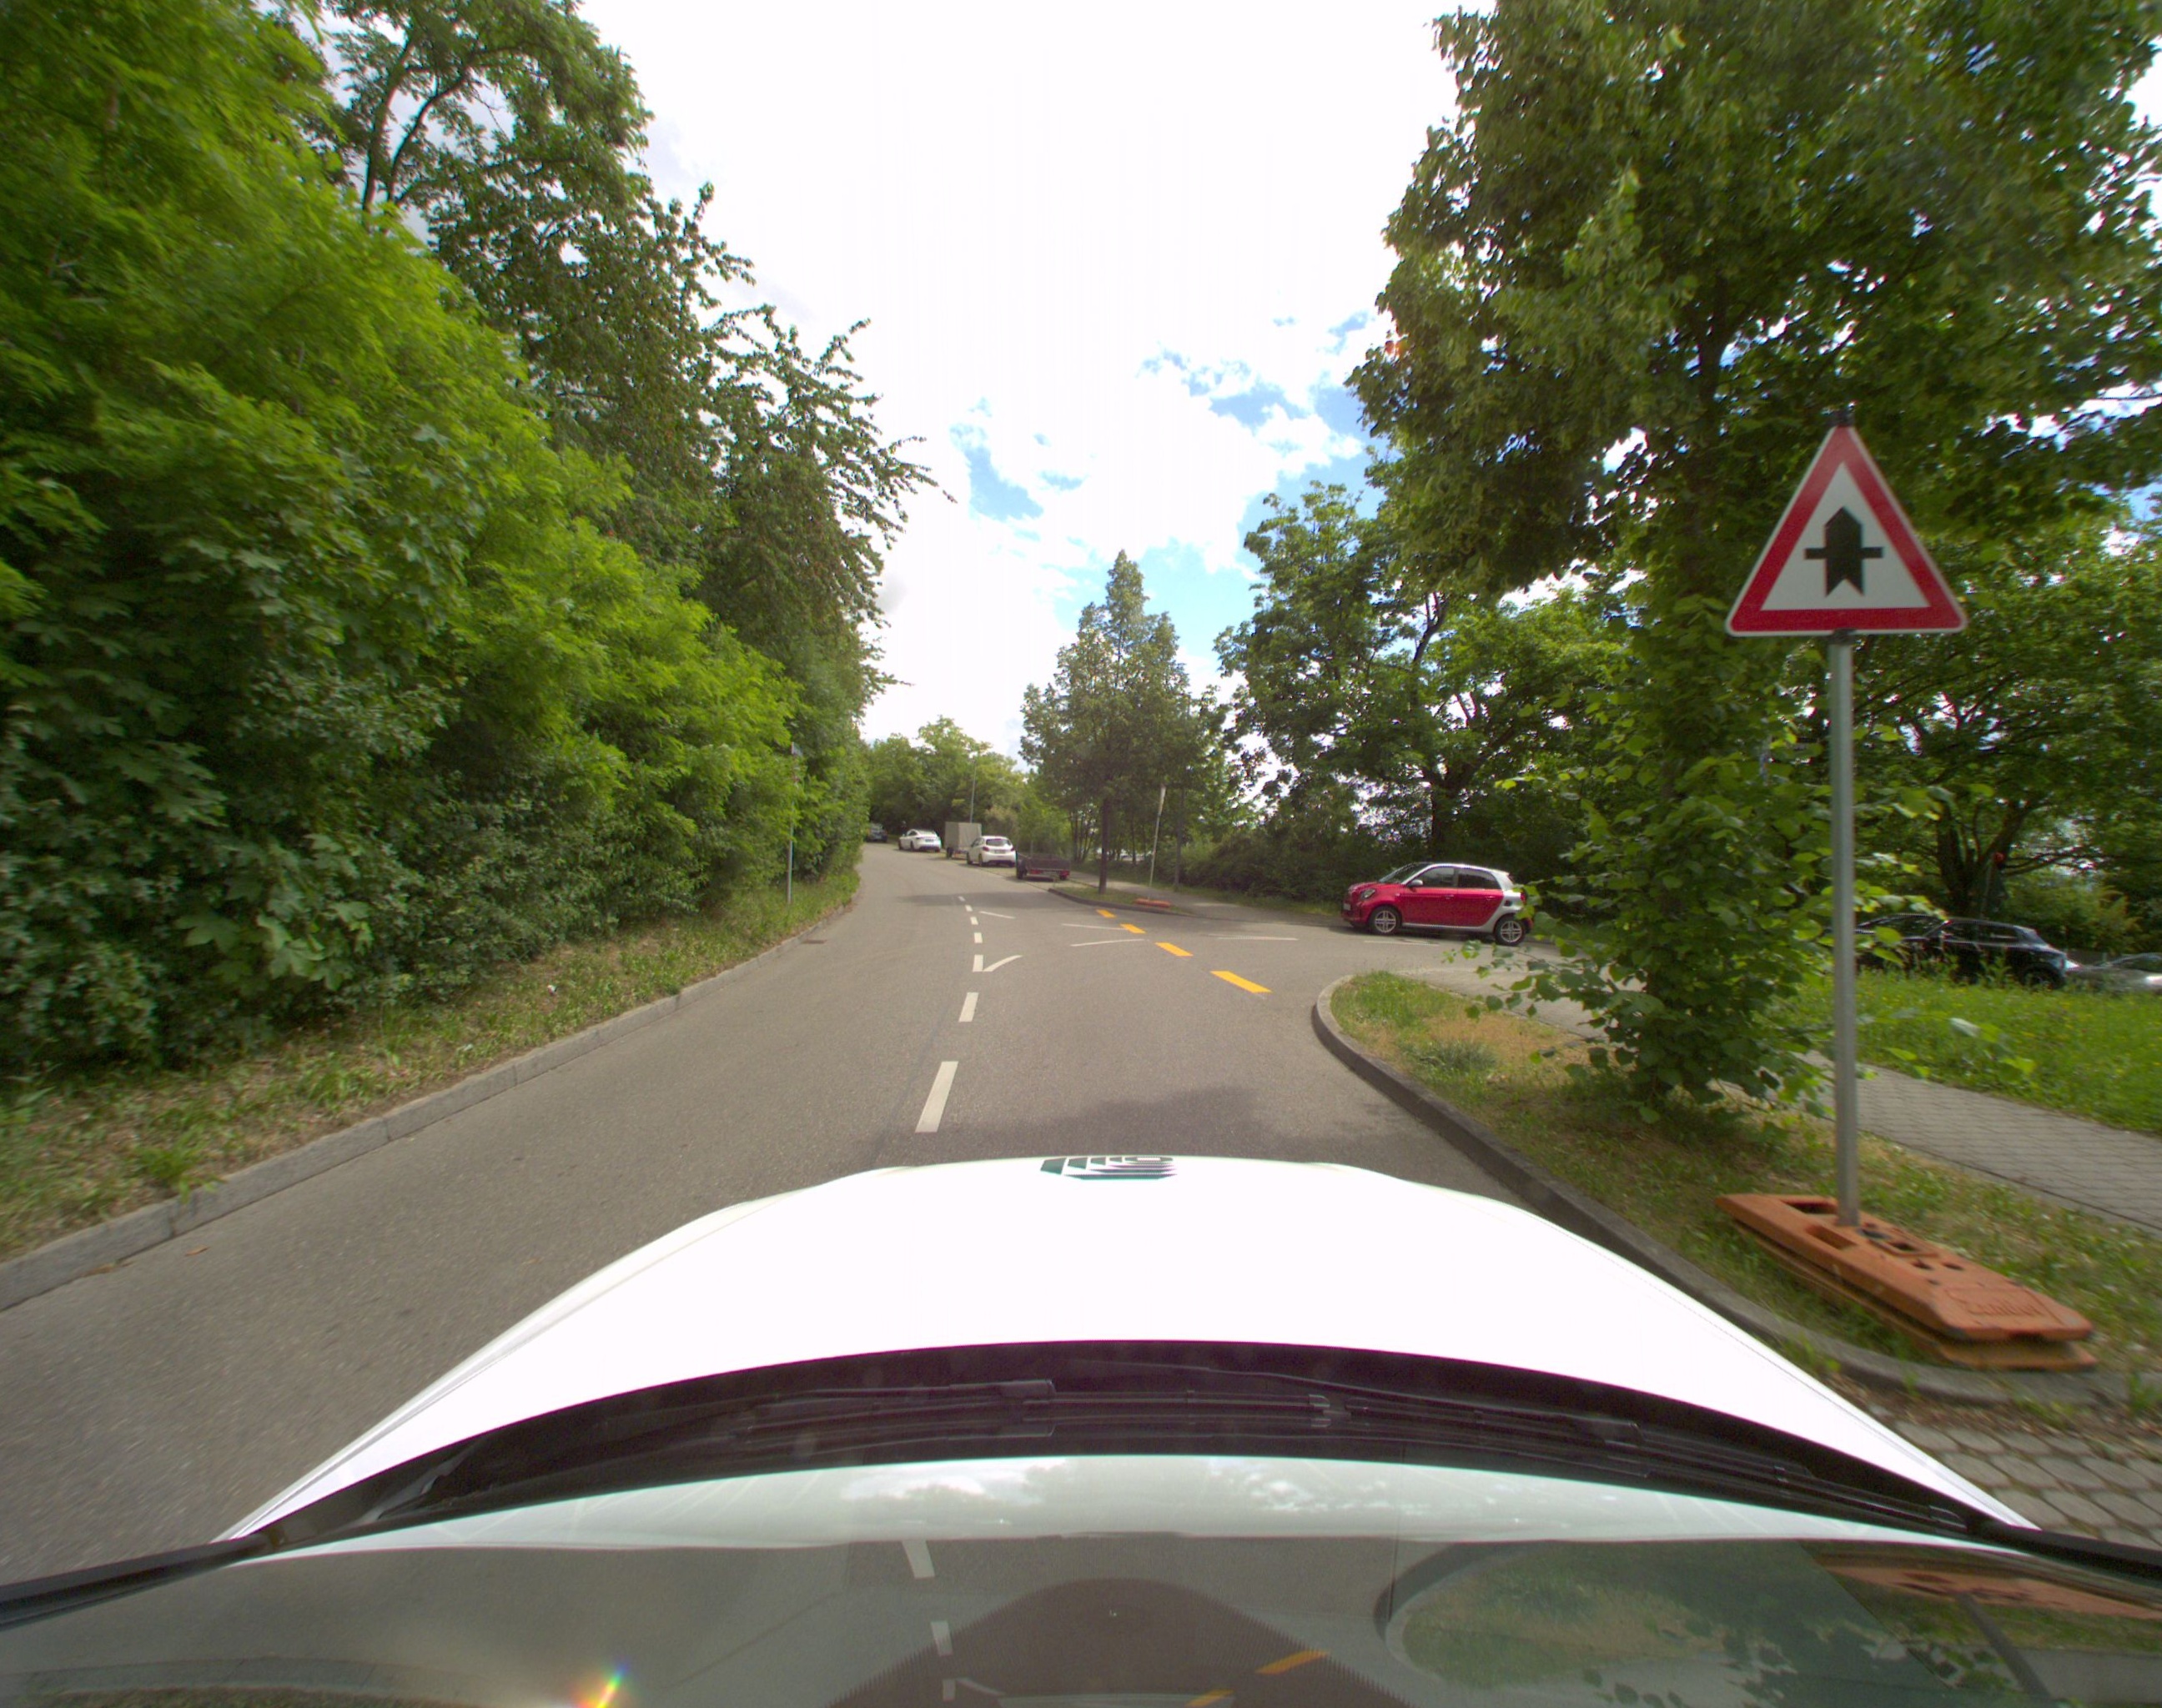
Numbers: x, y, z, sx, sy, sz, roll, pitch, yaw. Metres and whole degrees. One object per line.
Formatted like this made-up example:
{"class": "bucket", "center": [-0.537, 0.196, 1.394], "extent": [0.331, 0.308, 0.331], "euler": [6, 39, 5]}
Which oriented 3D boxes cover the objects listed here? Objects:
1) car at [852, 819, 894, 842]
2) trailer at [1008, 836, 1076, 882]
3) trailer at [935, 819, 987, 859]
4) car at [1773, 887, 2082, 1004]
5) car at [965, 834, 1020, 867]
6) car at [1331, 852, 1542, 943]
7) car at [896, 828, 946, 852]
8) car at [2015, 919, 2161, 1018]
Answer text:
{"class": "car", "center": [-16.296, -1.884, 63.732], "extent": [1.900, 1.686, 4.307], "euler": [-2, 4, -33]}
{"class": "trailer", "center": [-1.566, 0.135, 31.283], "extent": [1.787, 1.525, 3.980], "euler": [2, 2, -15]}
{"class": "trailer", "center": [-6.838, -0.881, 46.094], "extent": [1.749, 2.110, 3.968], "euler": [1, 2, -25]}
{"class": "car", "center": [16.827, 1.766, 16.380], "extent": [3.974, 1.595, 2.001], "euler": [7, 1, 1]}
{"class": "car", "center": [-4.400, -0.212, 40.103], "extent": [1.775, 1.411, 3.975], "euler": [1, 3, -20]}
{"class": "car", "center": [7.177, 0.845, 16.753], "extent": [3.521, 1.480, 1.784], "euler": [4, 1, 4]}
{"class": "car", "center": [-10.508, -0.939, 53.351], "extent": [1.898, 1.376, 4.312], "euler": [1, 2, -30]}
{"class": "car", "center": [21.488, 2.413, 15.930], "extent": [3.974, 1.595, 2.001], "euler": [7, 1, 1]}
